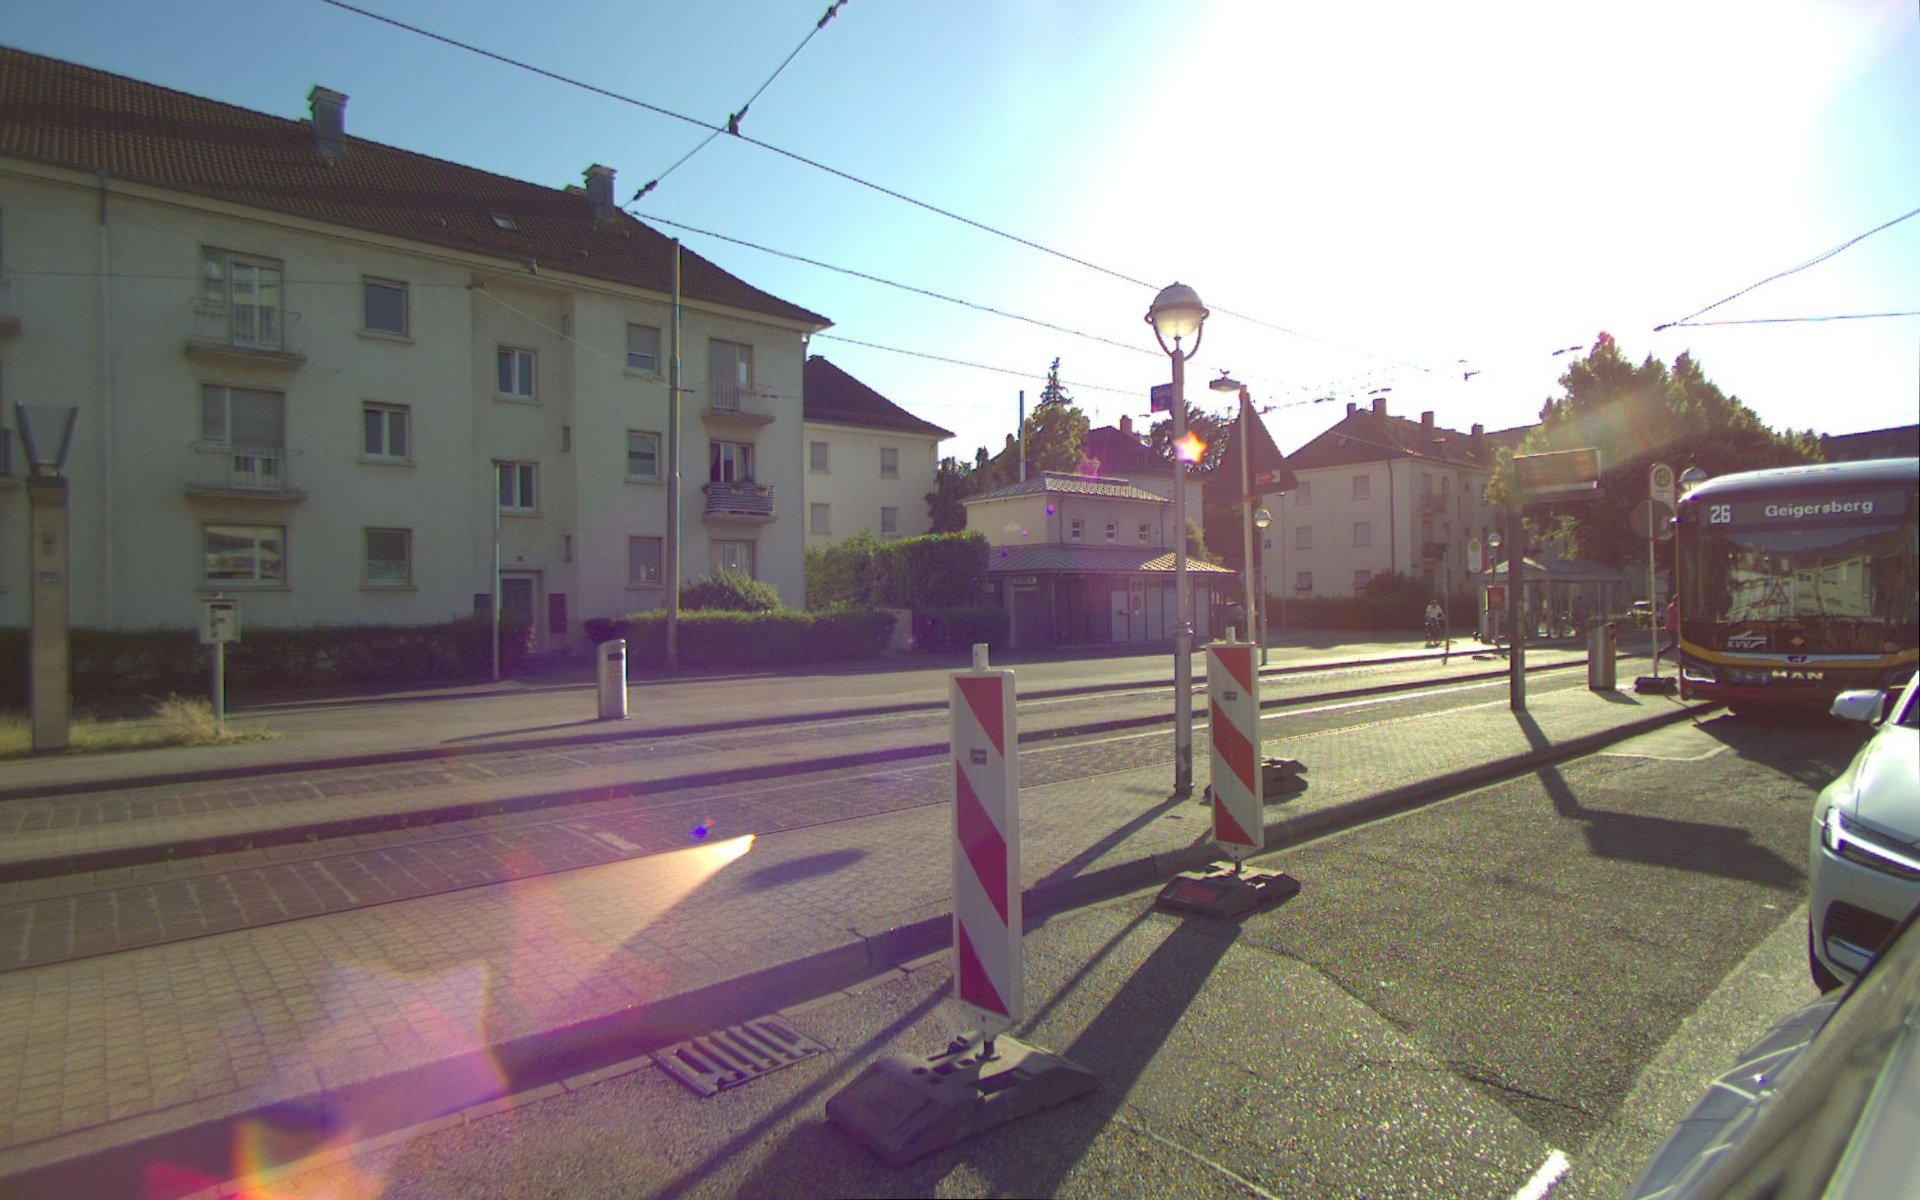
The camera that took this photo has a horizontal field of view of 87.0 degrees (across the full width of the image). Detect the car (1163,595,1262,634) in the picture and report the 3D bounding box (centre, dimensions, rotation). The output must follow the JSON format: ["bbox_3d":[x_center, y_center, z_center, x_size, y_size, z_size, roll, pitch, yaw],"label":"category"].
[{"bbox_3d":[11.584,0.682,46.670,1.964,1.694,4.050,-1,-1,-39],"label":"car"}]

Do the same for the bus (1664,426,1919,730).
[{"bbox_3d":[14.316,-0.262,15.849,11.824,3.345,2.745,0,0,-42],"label":"bus"}]

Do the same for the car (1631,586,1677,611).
[{"bbox_3d":[53.778,-0.109,78.438,3.930,1.887,1.997,-1,0,-41],"label":"car"}]

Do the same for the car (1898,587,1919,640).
[{"bbox_3d":[28.784,0.370,29.232,4.740,1.477,1.968,0,0,-41],"label":"car"}]

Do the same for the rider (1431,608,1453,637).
[{"bbox_3d":[17.608,0.821,36.975,0.573,1.004,1.845,0,0,21],"label":"rider"}]

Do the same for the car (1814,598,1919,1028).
[{"bbox_3d":[5.272,0.733,4.361,4.143,1.472,1.819,0,0,-41],"label":"car"}]

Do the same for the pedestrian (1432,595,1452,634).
[{"bbox_3d":[17.604,0.532,36.965,0.573,1.398,0.654,0,0,21],"label":"pedestrian"}]

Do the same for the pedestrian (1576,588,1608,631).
[{"bbox_3d":[24.111,0.358,38.585,0.811,1.631,0.841,0,0,-42],"label":"pedestrian"}]

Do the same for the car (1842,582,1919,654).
[{"bbox_3d":[21.224,0.361,22.367,4.740,1.477,1.968,0,0,-41],"label":"car"}]

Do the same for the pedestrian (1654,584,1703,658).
[{"bbox_3d":[17.452,0.492,24.588,0.812,1.740,0.840,0,0,-45],"label":"pedestrian"}]
